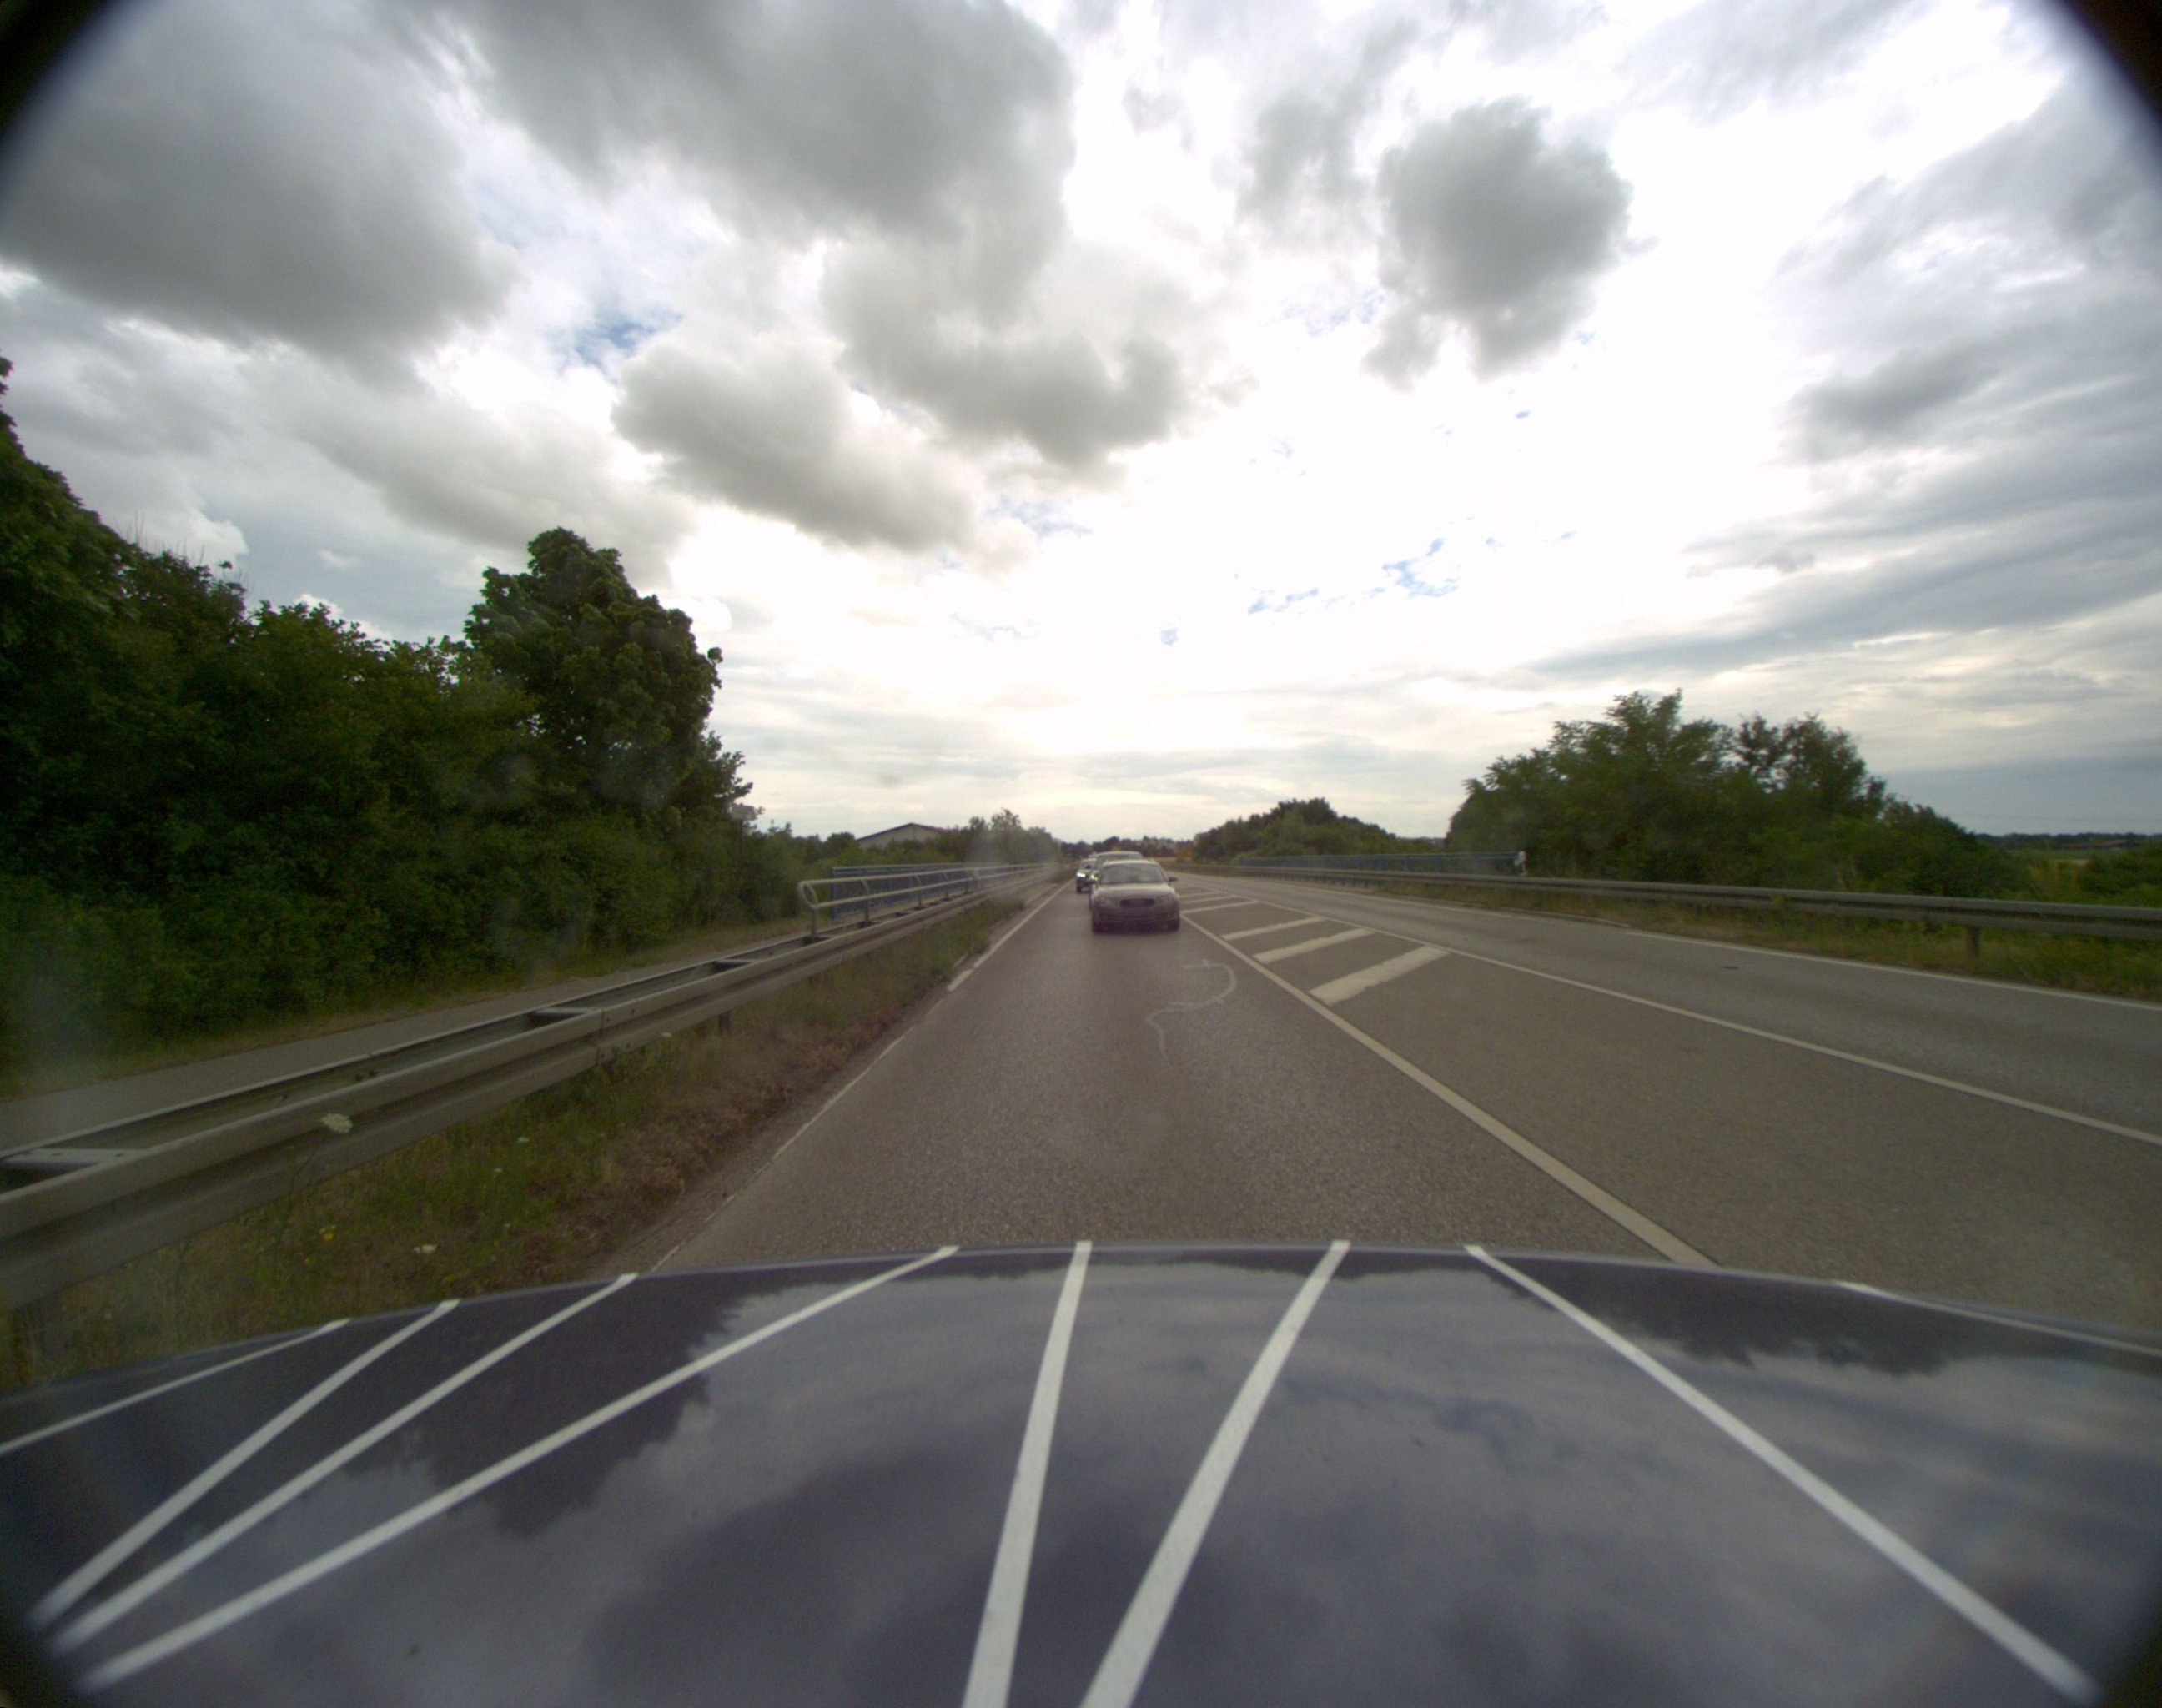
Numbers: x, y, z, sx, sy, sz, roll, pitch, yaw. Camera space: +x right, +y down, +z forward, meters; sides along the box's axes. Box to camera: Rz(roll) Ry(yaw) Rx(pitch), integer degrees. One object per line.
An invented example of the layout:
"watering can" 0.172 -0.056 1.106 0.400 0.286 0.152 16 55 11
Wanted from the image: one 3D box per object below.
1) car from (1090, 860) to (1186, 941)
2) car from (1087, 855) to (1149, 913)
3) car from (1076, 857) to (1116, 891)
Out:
"car" 1.098 0.896 16.229 1.768 1.383 3.876 -2 1 1
"car" 1.069 0.851 23.481 1.684 1.521 4.000 -2 1 1
"car" 0.673 0.882 34.783 1.670 1.339 4.000 -2 1 1
